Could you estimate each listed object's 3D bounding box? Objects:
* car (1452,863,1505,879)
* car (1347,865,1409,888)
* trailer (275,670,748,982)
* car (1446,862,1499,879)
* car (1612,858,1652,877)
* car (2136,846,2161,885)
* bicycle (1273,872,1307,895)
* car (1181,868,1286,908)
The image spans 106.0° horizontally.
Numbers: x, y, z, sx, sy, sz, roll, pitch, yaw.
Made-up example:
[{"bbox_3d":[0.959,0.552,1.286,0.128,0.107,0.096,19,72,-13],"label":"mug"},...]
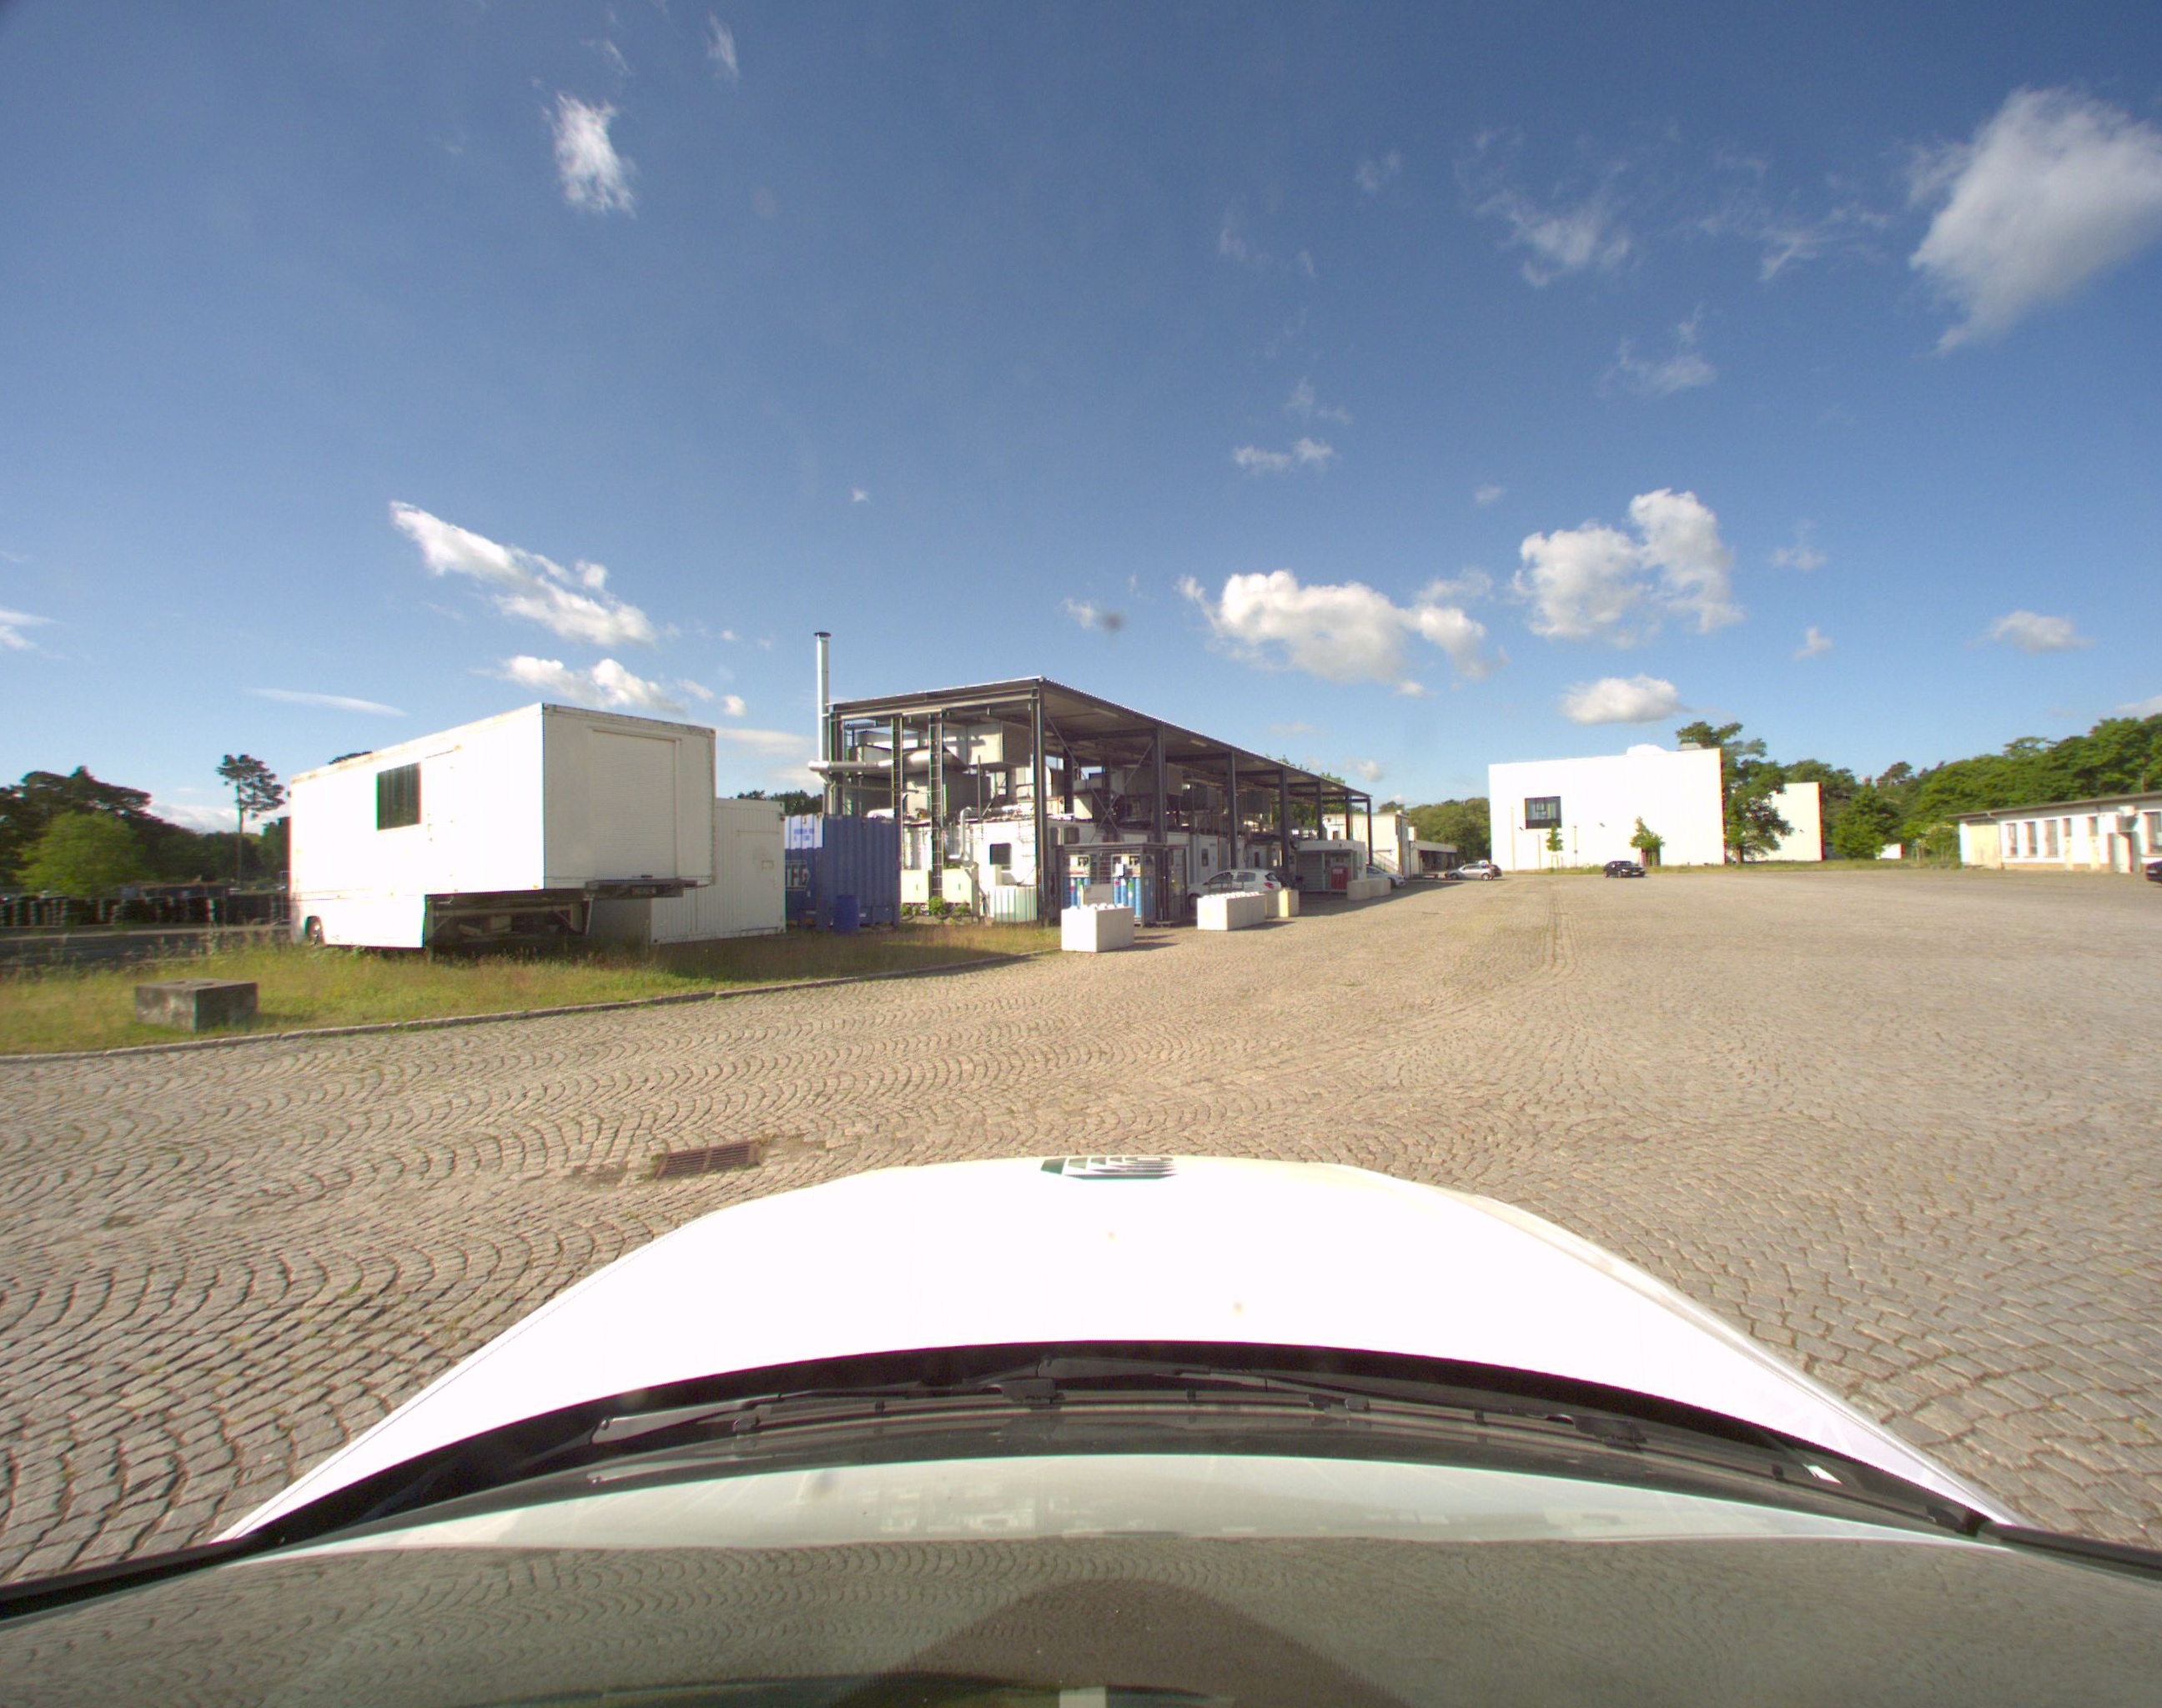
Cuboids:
[{"bbox_3d":[37.095,1.589,76.042,4.303,1.470,1.751,-2,-2,29],"label":"car"},{"bbox_3d":[19.628,1.468,53.785,3.651,1.409,1.685,-2,-2,27],"label":"car"},{"bbox_3d":[-10.435,-0.189,14.226,10.745,3.911,2.799,-2,-2,32],"label":"trailer"},{"bbox_3d":[35.264,1.477,73.339,4.134,1.404,1.751,-2,-2,29],"label":"car"},{"bbox_3d":[45.652,1.118,67.557,1.721,1.429,4.094,-2,-2,18],"label":"car"},{"bbox_3d":[42.397,0.363,29.933,4.024,1.470,1.751,-3,-2,29],"label":"car"},{"bbox_3d":[10.888,1.544,42.437,1.650,1.137,0.488,-2,-2,29],"label":"bicycle"},{"bbox_3d":[5.571,1.255,29.849,3.430,1.376,1.620,-2,-2,27],"label":"car"}]
